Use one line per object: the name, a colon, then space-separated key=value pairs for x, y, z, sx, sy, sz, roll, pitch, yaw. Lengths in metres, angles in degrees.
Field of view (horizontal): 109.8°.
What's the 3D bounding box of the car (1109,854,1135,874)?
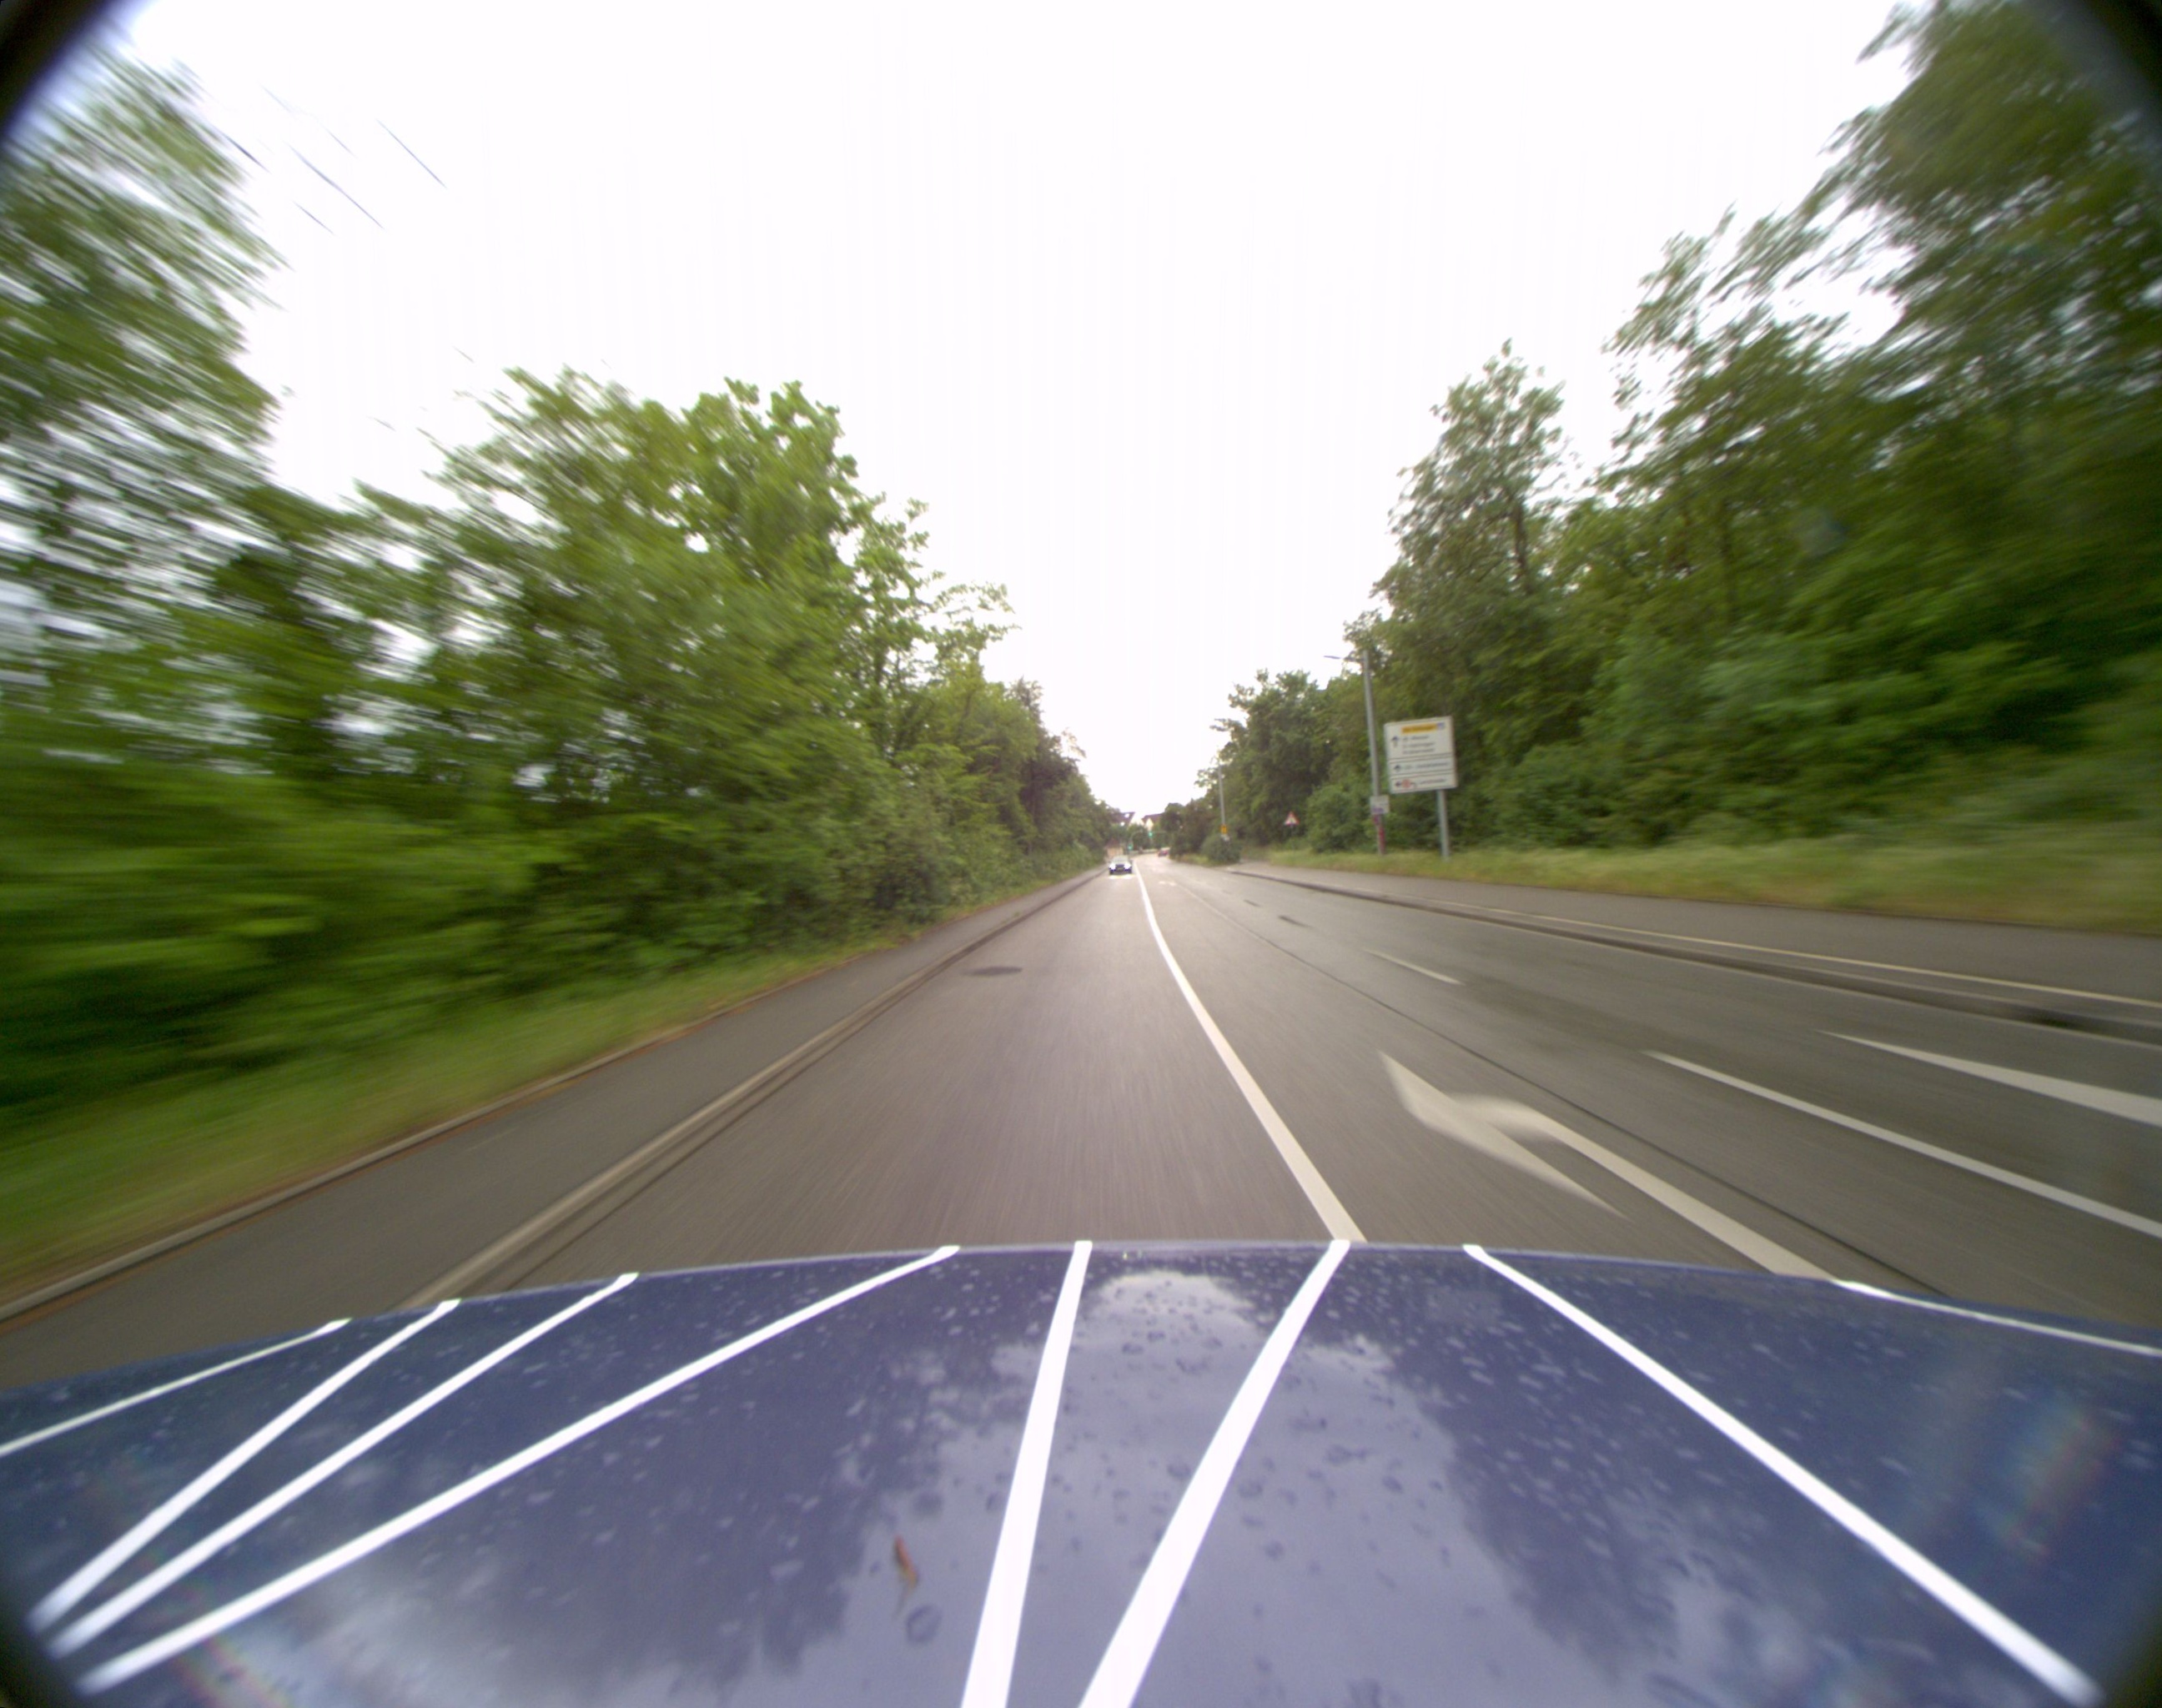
car: x=3.378 y=0.831 z=61.724 sx=1.830 sy=1.511 sz=4.004 roll=0 pitch=-2 yaw=8
